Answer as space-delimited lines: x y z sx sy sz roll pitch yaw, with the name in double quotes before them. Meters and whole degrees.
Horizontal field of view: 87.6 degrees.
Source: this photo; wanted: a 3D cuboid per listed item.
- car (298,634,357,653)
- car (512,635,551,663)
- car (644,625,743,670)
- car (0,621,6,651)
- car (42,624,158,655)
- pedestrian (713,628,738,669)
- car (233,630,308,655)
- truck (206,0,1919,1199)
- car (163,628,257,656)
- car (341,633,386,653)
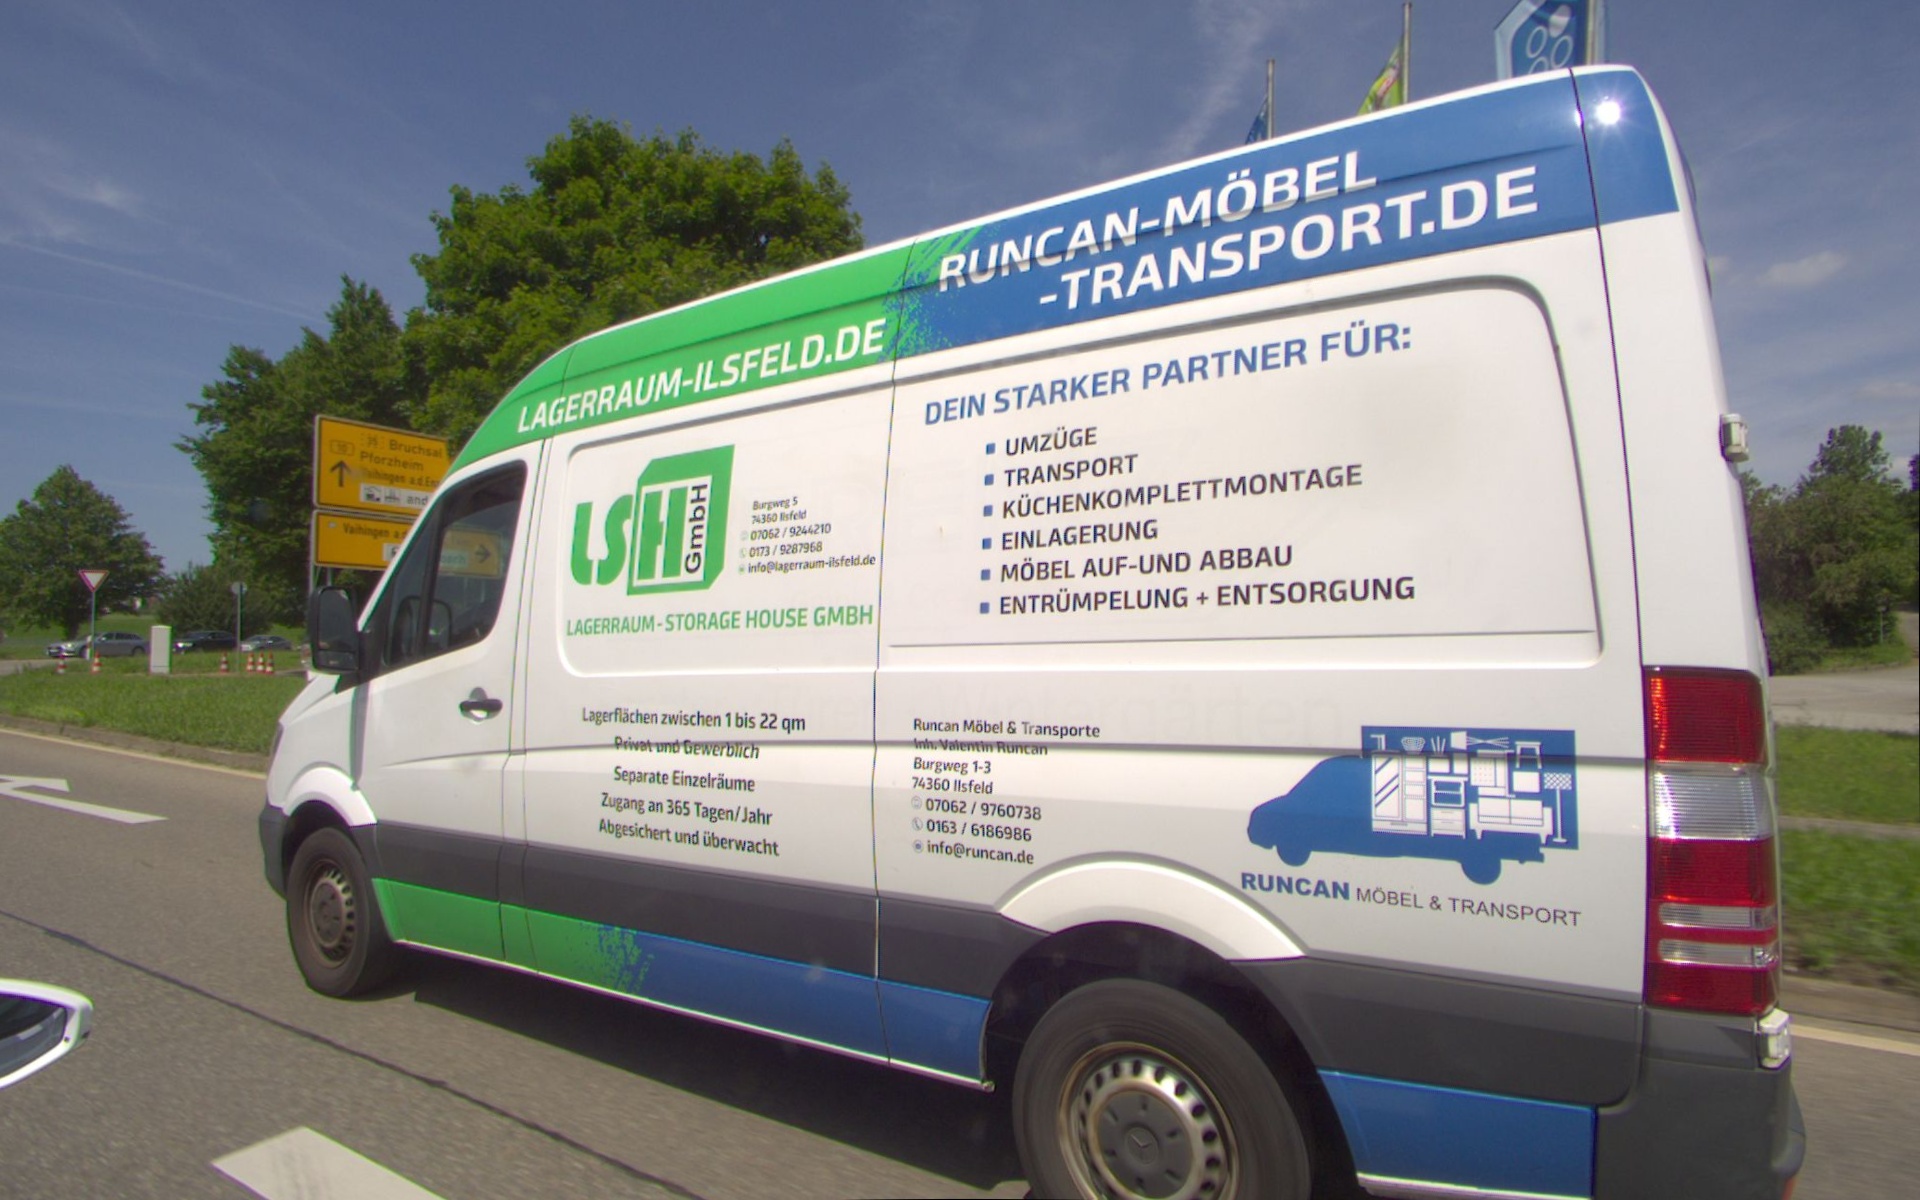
"car" -45.246 3.144 71.727 1.766 1.289 4.563 0 -2 -7
"car" -22.074 2.500 51.535 1.732 1.380 4.307 0 -2 -25
"car" -10.594 1.849 39.569 2.015 1.623 4.903 0 -2 -38
"car" -46.783 1.686 45.948 1.767 1.437 4.105 -1 -2 11
"car" -45.134 2.116 52.690 1.766 1.528 4.564 -1 -3 8
"pedestrian" -8.780 1.803 37.450 0.660 1.516 0.716 0 -2 -40
"car" -44.822 2.764 65.188 1.766 1.529 4.565 -1 -2 -1
"truck" -0.468 0.202 3.919 5.859 2.772 2.063 -2 -2 33
"car" -43.881 2.472 58.710 1.766 1.528 4.566 -1 -4 6
"car" -46.623 3.352 78.378 1.768 1.529 4.230 0 -2 -13
